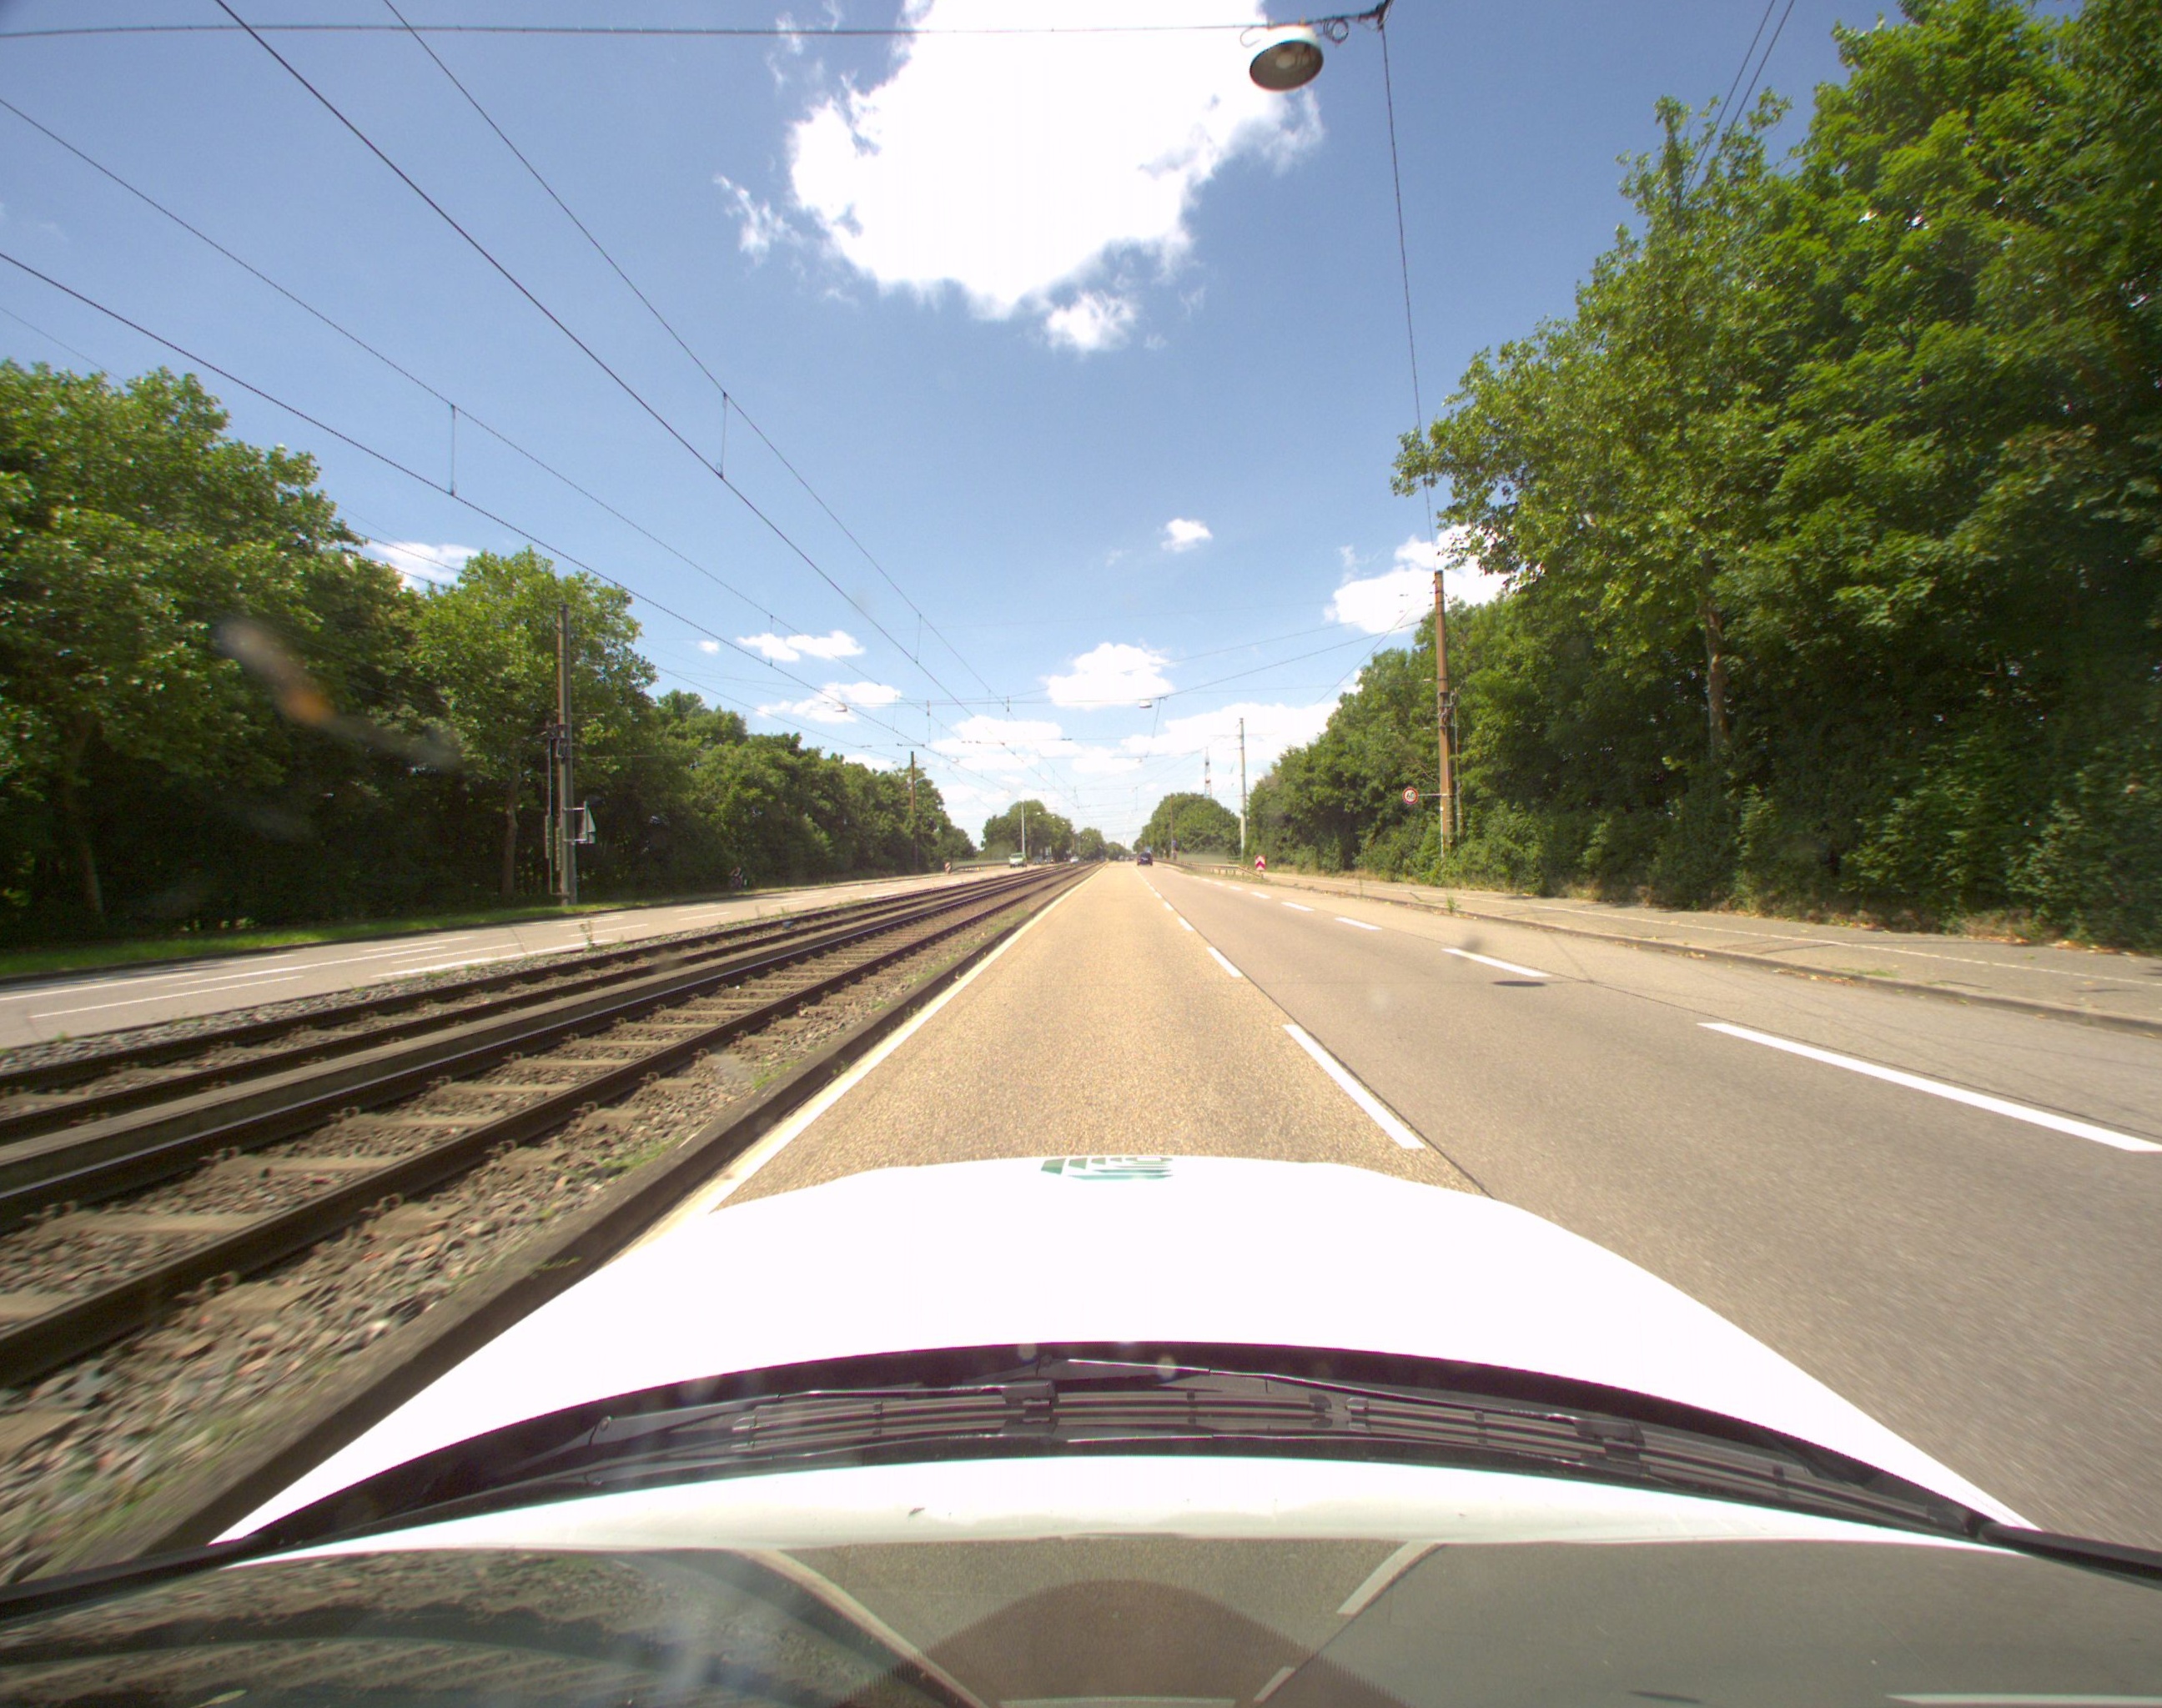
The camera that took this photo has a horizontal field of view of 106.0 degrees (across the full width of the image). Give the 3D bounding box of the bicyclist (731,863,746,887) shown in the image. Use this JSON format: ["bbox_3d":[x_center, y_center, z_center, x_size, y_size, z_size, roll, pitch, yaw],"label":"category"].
[{"bbox_3d":[-19.498,1.213,46.354,0.566,1.368,0.632,0,-1,4],"label":"bicyclist"}]

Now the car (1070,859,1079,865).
[{"bbox_3d":[-1.446,1.769,181.098,1.704,1.420,4.628,-2,-1,3],"label":"car"}]

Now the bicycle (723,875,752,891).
[{"bbox_3d":[-19.488,1.666,46.293,0.583,0.819,2.071,-3,-1,5],"label":"bicycle"}]

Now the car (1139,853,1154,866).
[{"bbox_3d":[7.596,0.633,94.478,1.580,1.343,3.273,-2,0,1],"label":"car"}]

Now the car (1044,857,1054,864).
[{"bbox_3d":[-6.171,1.290,156.970,1.568,1.400,3.940,-2,-1,3],"label":"car"}]

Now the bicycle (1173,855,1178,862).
[{"bbox_3d":[13.966,0.640,120.732,0.557,1.024,1.849,-2,-1,3],"label":"bicycle"}]

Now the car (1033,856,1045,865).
[{"bbox_3d":[-7.041,1.106,137.177,1.556,1.347,3.932,-2,-1,3],"label":"car"}]

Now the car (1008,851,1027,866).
[{"bbox_3d":[-8.326,0.631,107.430,1.804,1.925,5.183,-2,-1,3],"label":"car"}]
